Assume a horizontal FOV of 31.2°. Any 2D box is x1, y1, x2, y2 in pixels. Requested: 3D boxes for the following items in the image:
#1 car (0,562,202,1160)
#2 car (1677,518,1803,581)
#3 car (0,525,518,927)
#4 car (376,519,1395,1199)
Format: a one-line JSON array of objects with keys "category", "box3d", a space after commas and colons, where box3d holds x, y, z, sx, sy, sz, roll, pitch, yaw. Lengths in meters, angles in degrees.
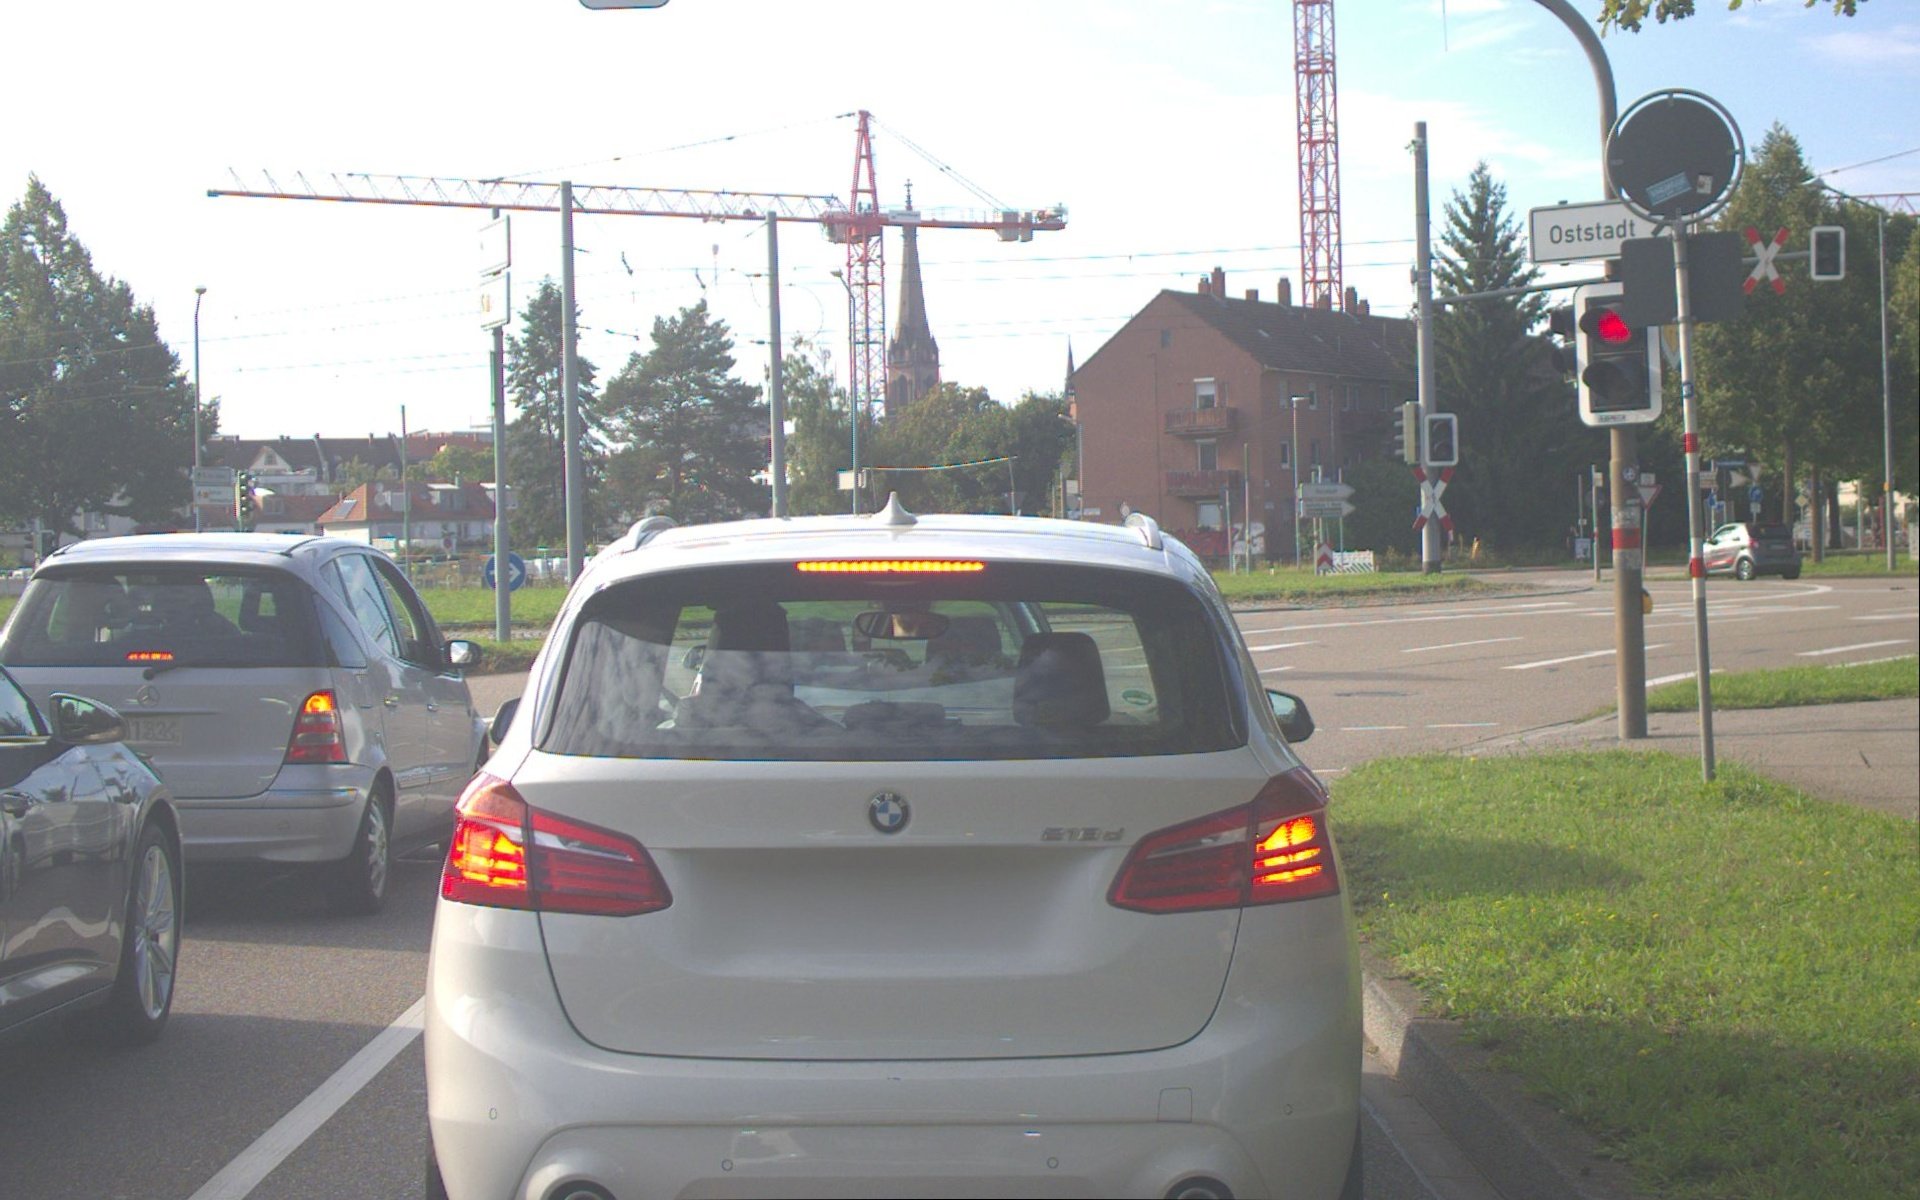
[{"category": "car", "box3d": [-3.317, 0.644, 8.587, 1.890, 1.478, 4.613, 0, 1, -1]}, {"category": "car", "box3d": [20.245, -1.298, 89.321, 1.569, 1.568, 3.199, -2, 1, -23]}, {"category": "car", "box3d": [-3.090, 0.455, 15.346, 1.729, 1.553, 4.058, 0, 1, 0]}, {"category": "car", "box3d": [-0.155, 0.606, 7.871, 1.729, 1.553, 4.058, 0, 1, -1]}]
